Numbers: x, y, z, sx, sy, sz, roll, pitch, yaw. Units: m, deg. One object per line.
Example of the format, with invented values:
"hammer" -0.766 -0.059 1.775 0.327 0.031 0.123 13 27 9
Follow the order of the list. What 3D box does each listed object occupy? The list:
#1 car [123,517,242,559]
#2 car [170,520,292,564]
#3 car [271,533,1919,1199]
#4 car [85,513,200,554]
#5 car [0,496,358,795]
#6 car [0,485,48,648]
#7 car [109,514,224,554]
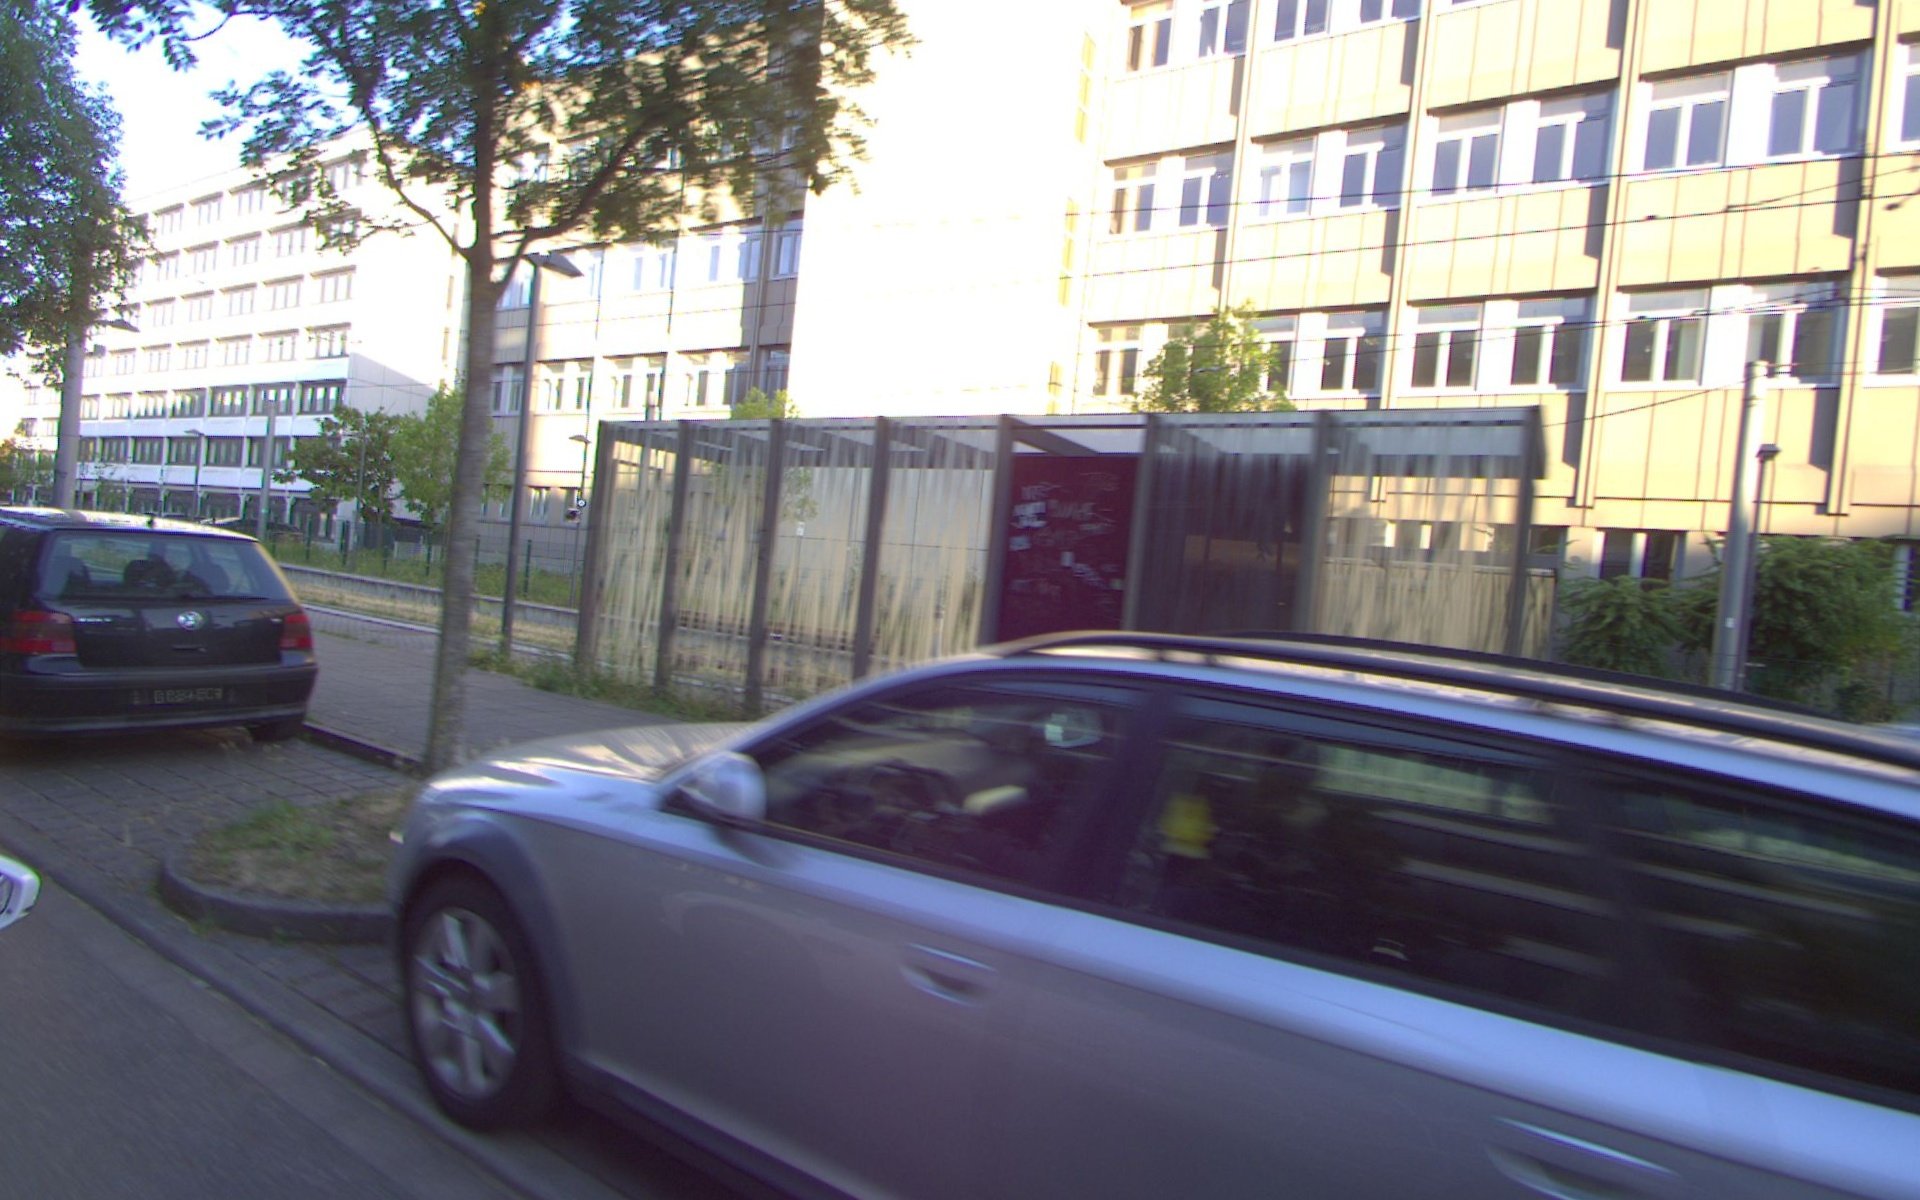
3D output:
"car" -35.809 -2.839 46.424 1.648 1.506 3.987 6 2 32
"car" -31.805 -2.503 43.990 1.648 1.506 3.987 6 2 32
"car" 0.310 0.764 2.609 4.703 1.517 1.795 6 3 33
"car" -40.015 -3.244 49.321 1.793 1.533 3.989 6 1 30
"car" -5.951 0.094 6.632 3.933 1.470 1.708 6 1 31
"car" -10.871 -0.493 9.880 4.062 1.513 1.708 6 1 31
"car" -37.721 -3.113 47.911 1.648 1.506 3.987 6 2 32
